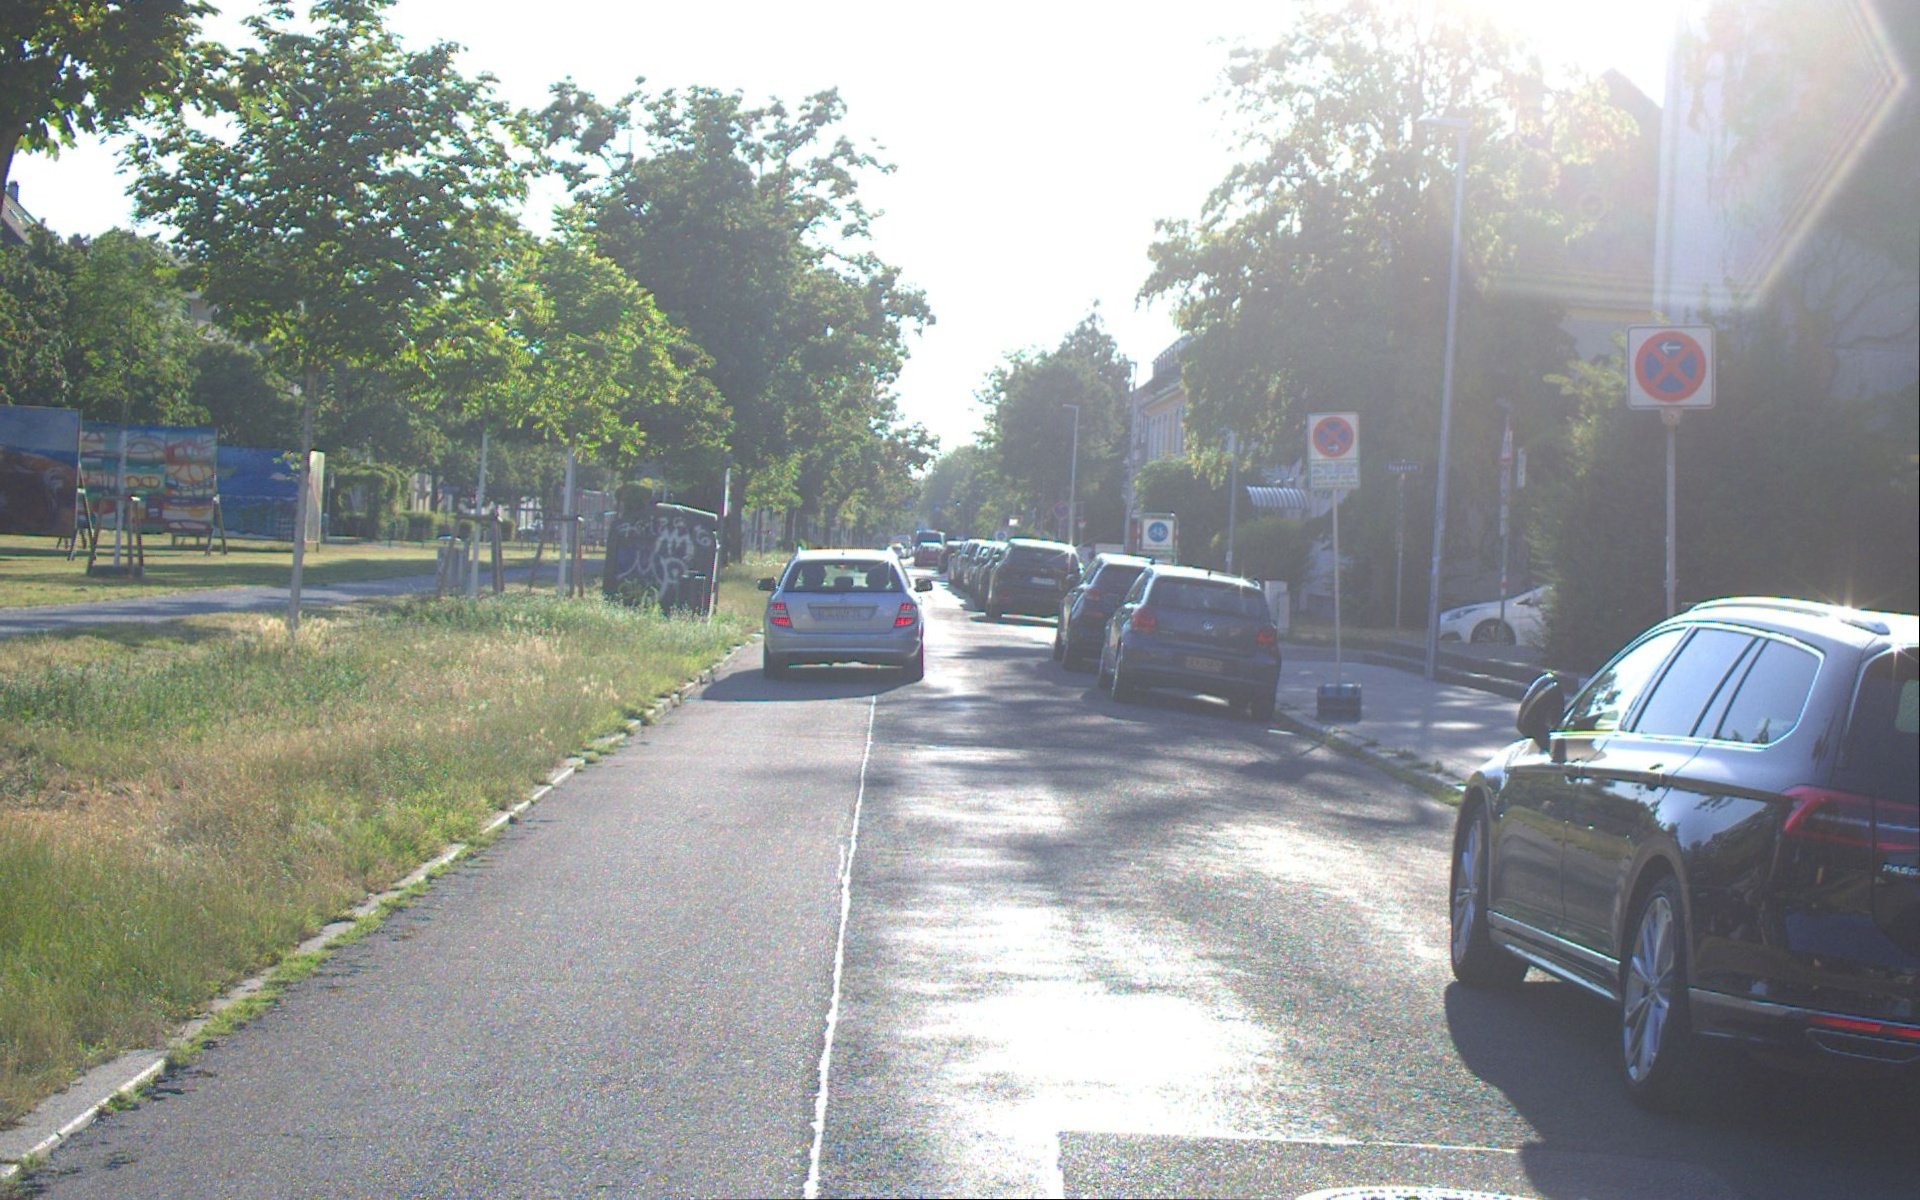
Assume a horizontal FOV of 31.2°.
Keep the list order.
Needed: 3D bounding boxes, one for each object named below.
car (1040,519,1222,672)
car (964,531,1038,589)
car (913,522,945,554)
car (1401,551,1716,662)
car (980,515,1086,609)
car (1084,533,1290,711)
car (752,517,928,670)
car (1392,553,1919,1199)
[{"bbox_3d":[2.093,-0.110,43.279,1.822,1.556,4.622,9,1,0],"label":"car"},{"bbox_3d":[1.172,-1.176,99.427,1.993,1.457,4.562,4,1,0],"label":"car"},{"bbox_3d":[-2.034,-4.133,228.114,1.988,2.016,4.000,3,1,0],"label":"car"},{"bbox_3d":[10.016,0.126,57.777,4.846,1.481,2.002,4,-2,-1],"label":"car"},{"bbox_3d":[1.481,-0.784,71.638,1.832,1.726,5.032,5,0,-1],"label":"car"},{"bbox_3d":[2.331,0.178,36.298,1.687,1.522,4.175,7,2,-1],"label":"car"},{"bbox_3d":[-1.295,-0.120,38.669,1.823,1.561,4.000,2,2,0],"label":"car"},{"bbox_3d":[2.849,0.774,10.933,1.993,1.592,4.887,7,0,-2],"label":"car"}]
